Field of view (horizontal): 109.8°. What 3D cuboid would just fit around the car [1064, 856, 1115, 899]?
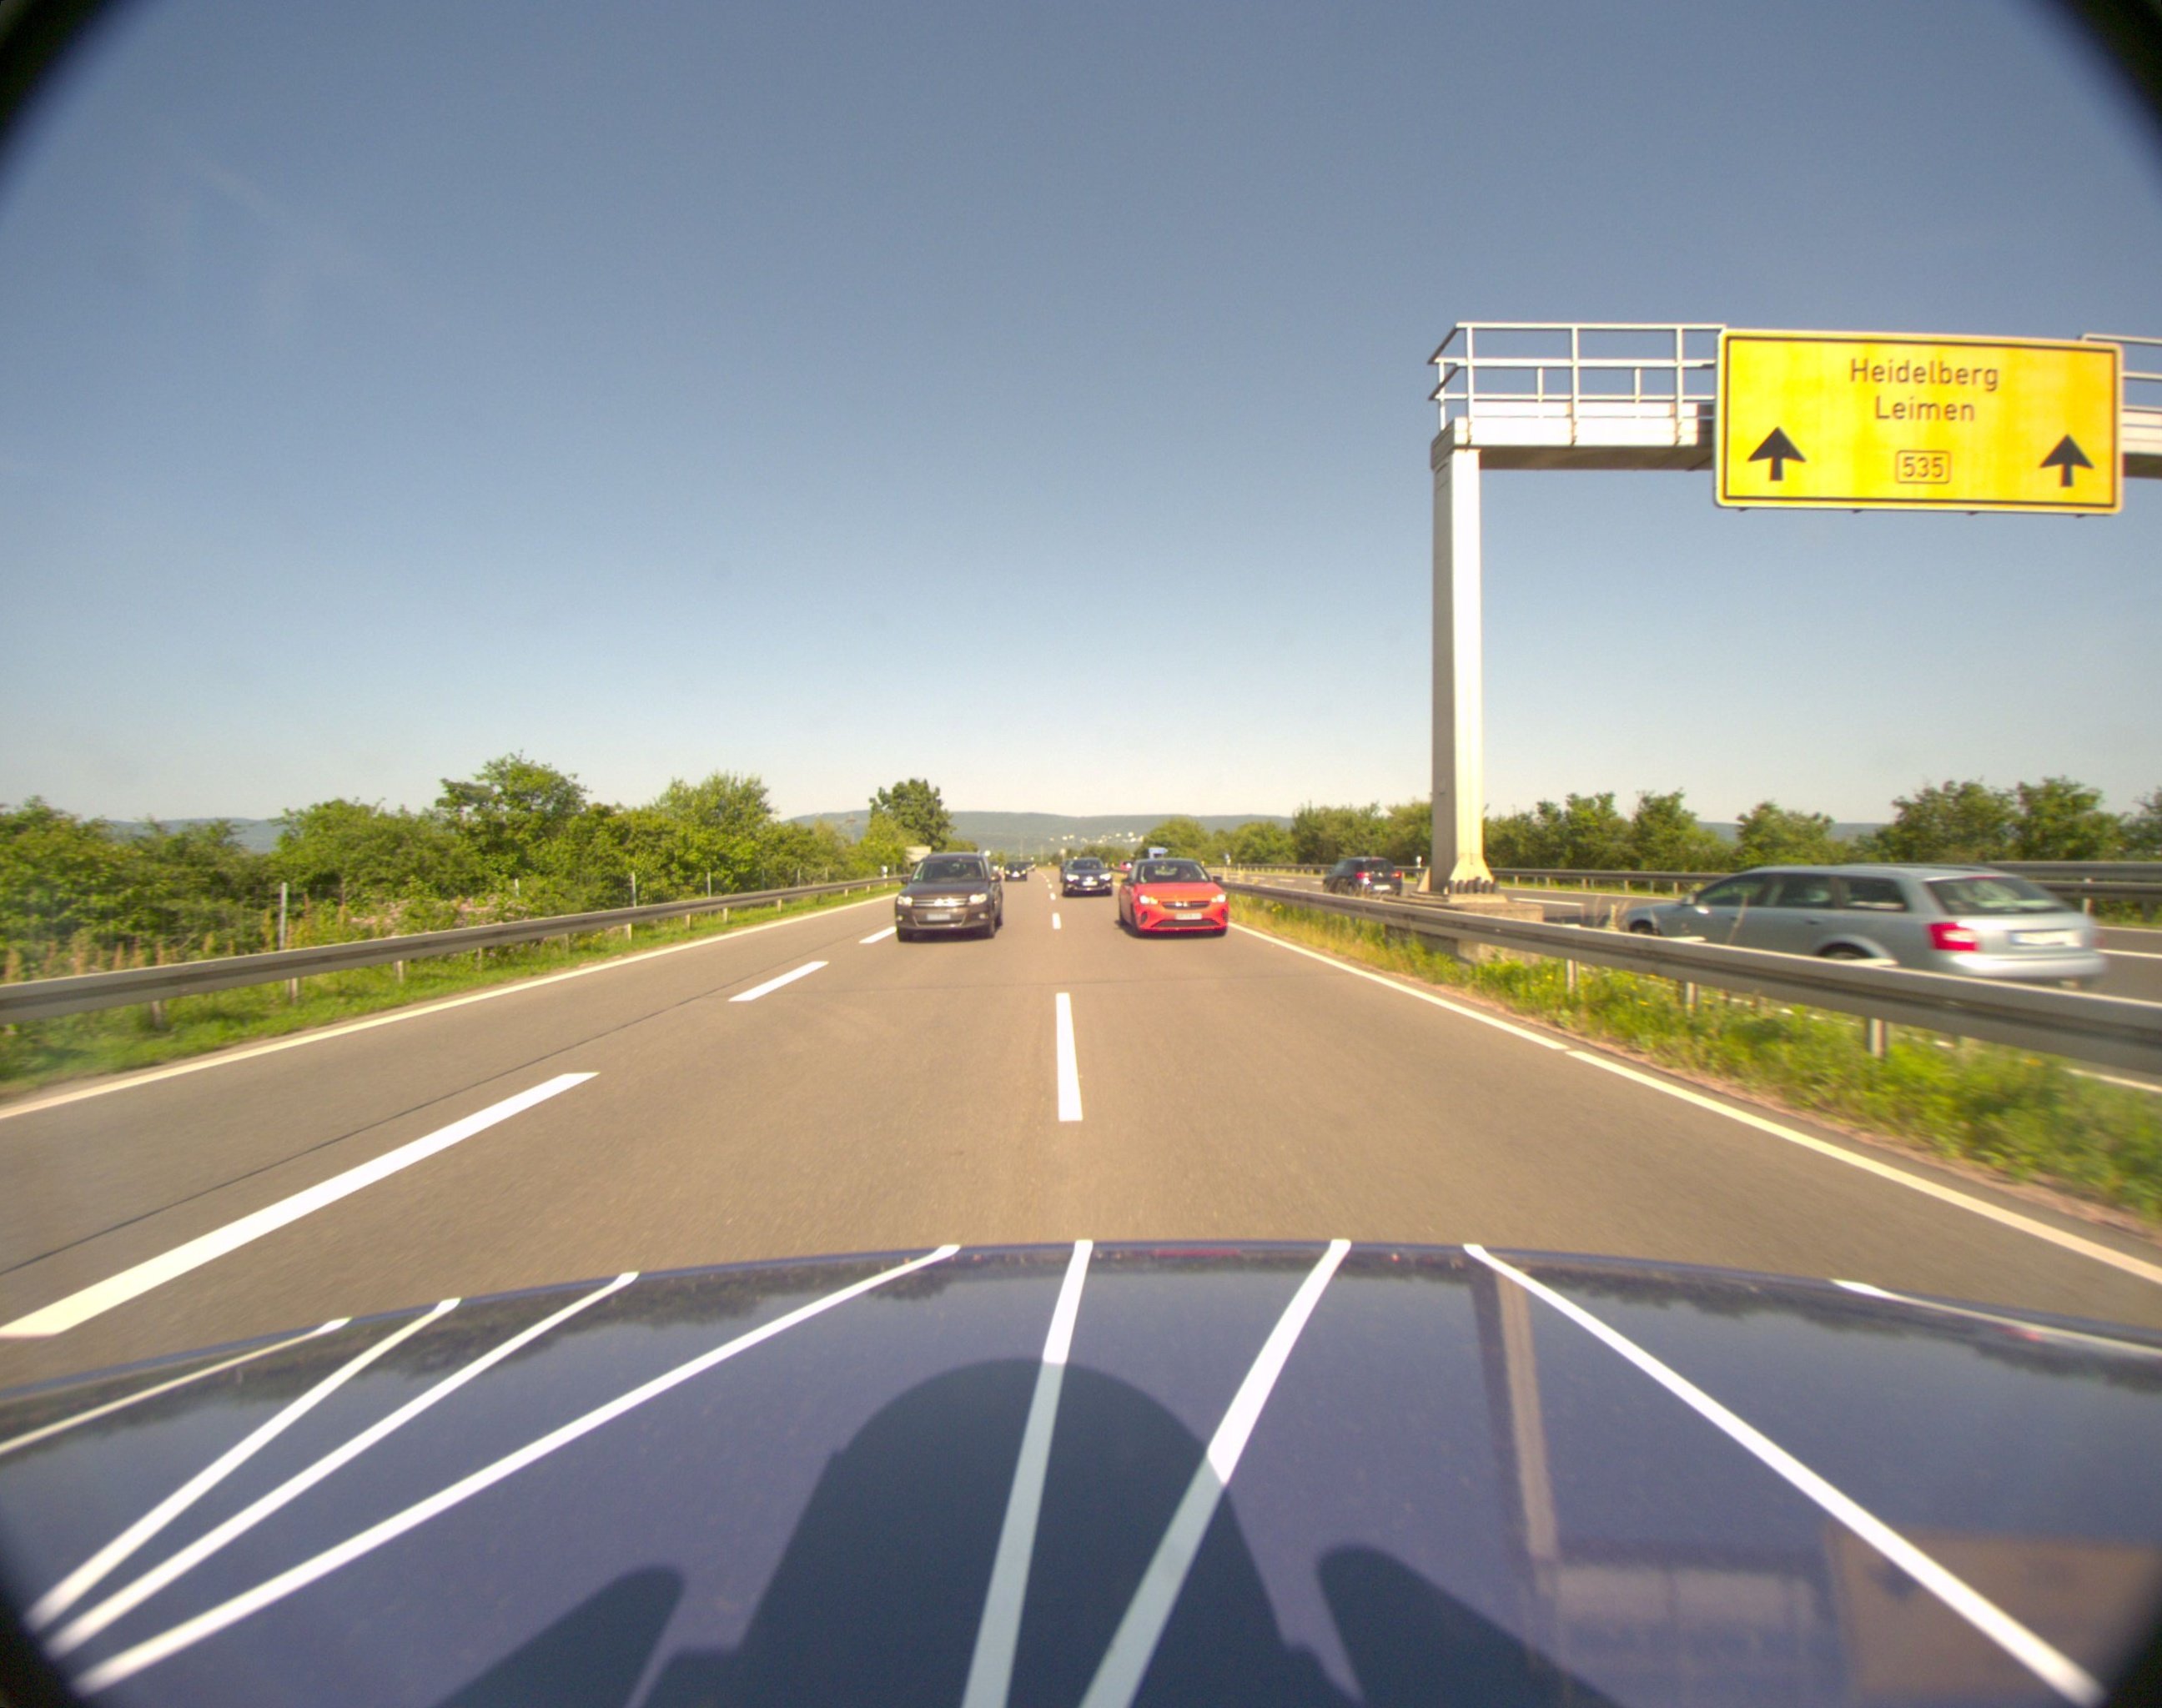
[{"bbox_3d":[0.290,0.872,29.891,1.788,1.524,4.375,-2,-1,-1],"label":"car"}]

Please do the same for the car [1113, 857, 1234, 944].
[{"bbox_3d":[1.676,0.805,15.190,1.713,1.428,4.411,-1,0,-2],"label":"car"}]

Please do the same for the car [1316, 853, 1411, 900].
[{"bbox_3d":[9.858,0.732,26.845,1.800,1.465,3.999,-2,0,0],"label":"car"}]

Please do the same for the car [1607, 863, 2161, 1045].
[{"bbox_3d":[8.675,0.888,8.825,1.879,1.430,4.501,-2,0,-2],"label":"car"}]

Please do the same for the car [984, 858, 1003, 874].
[{"bbox_3d":[-9.421,1.292,82.304,1.865,1.656,3.998,-2,0,-5],"label":"car"}]

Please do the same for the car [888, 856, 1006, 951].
[{"bbox_3d":[-2.582,0.883,15.607,1.790,1.637,4.147,-2,0,-2],"label":"car"}]

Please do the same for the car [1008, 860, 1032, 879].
[{"bbox_3d":[-4.334,1.084,54.577,1.601,1.241,3.998,-2,0,-4],"label":"car"}]

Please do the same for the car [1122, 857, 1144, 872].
[{"bbox_3d":[5.297,1.049,78.328,1.715,1.477,4.264,-2,0,-3],"label":"car"}]

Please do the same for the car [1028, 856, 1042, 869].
[{"bbox_3d":[-6.482,1.197,107.348,1.768,1.652,3.998,-2,0,-5],"label":"car"}]

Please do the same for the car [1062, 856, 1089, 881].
[{"bbox_3d":[-0.353,0.888,48.659,1.652,1.403,3.774,-2,1,-1],"label":"car"}]
